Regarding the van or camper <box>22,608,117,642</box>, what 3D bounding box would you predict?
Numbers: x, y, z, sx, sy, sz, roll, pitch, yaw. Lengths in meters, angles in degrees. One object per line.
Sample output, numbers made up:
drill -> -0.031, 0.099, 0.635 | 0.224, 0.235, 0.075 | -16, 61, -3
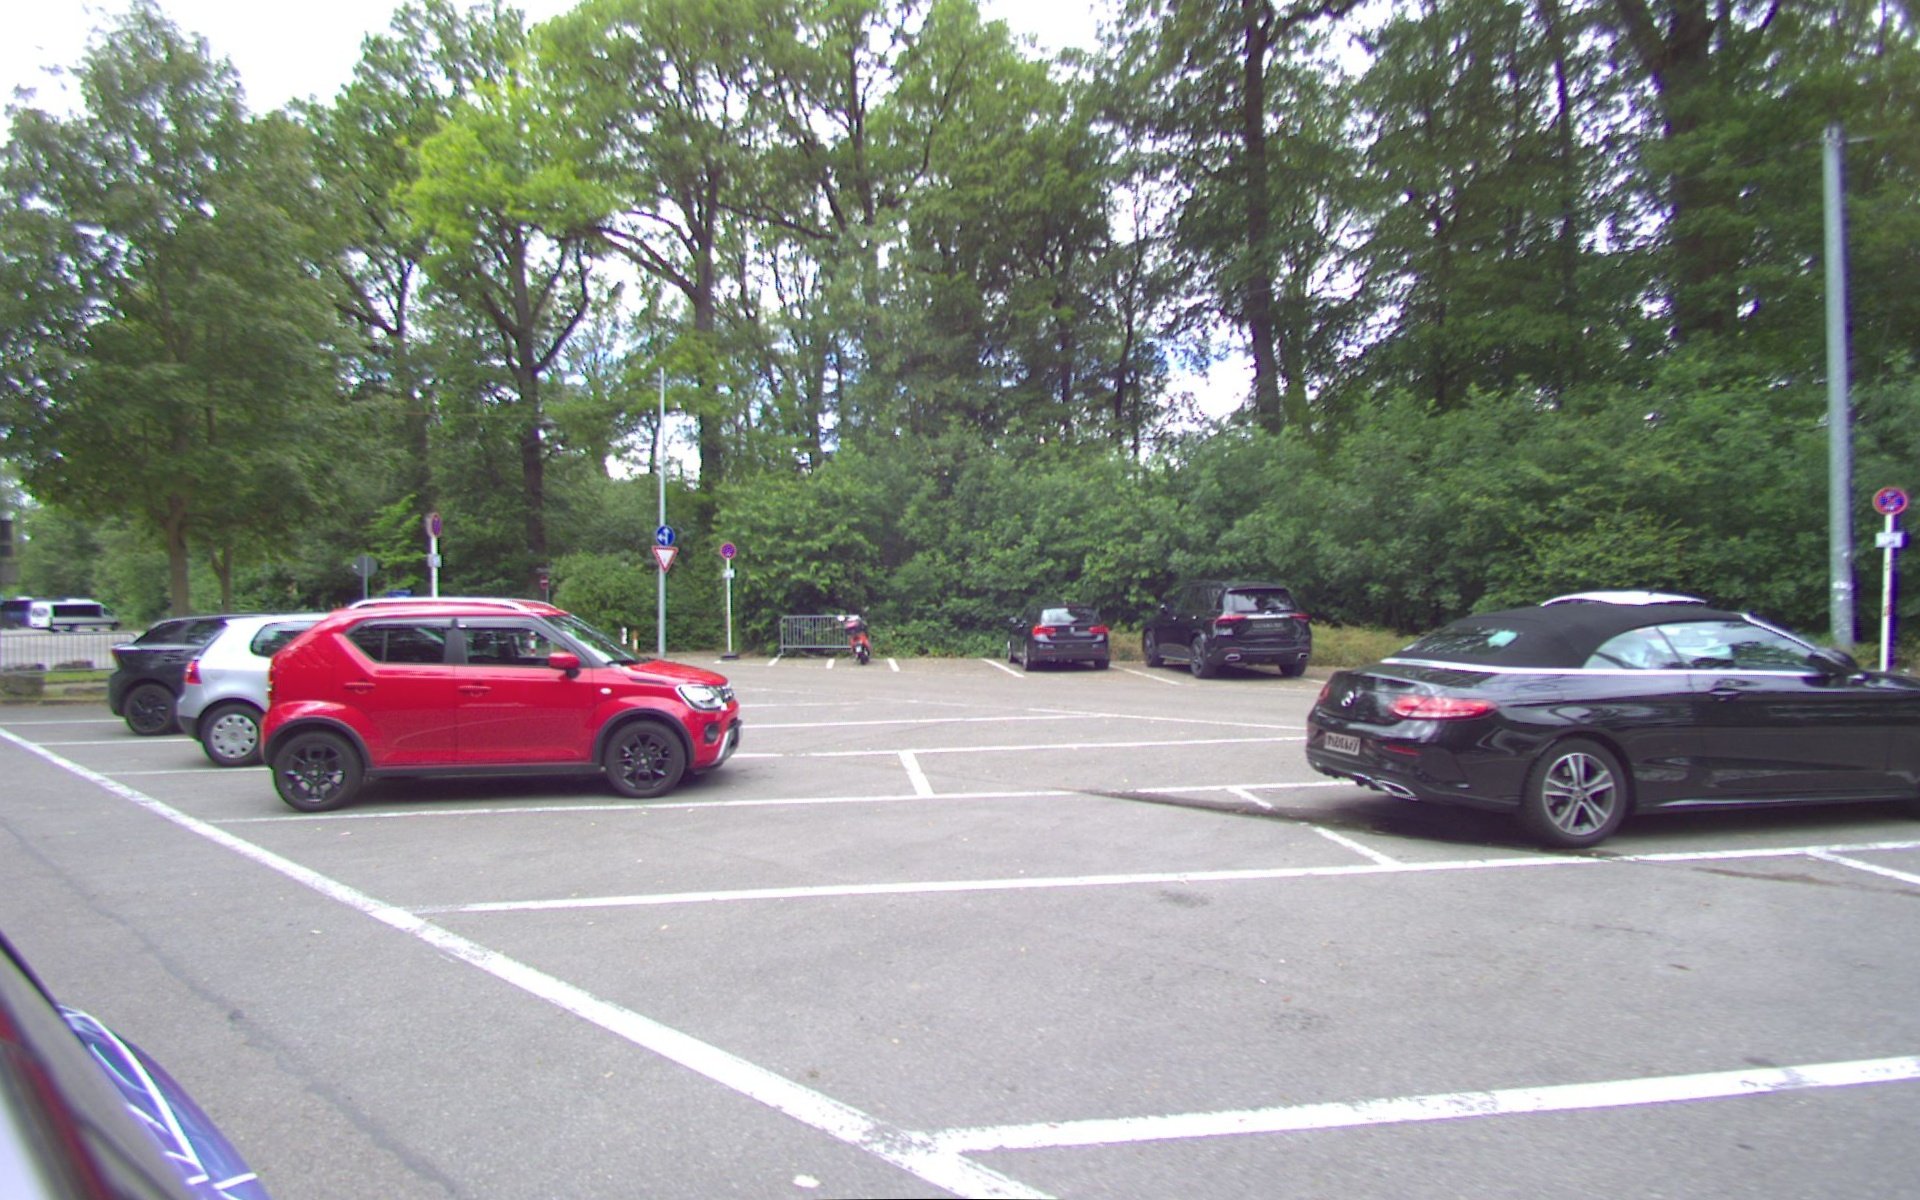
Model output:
van or camper -> -79.083, 2.159, 90.103 | 2.039, 2.871, 7.340 | -1, 0, 0

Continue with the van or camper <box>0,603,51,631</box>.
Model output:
van or camper -> -98.299, 1.757, 104.307 | 2.176, 2.871, 7.330 | -1, 0, 4

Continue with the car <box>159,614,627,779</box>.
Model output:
car -> -5.770, 0.929, 10.786 | 3.937, 1.495, 1.880 | -1, 0, -8

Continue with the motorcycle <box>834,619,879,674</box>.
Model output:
motorcycle -> -2.455, 1.092, 24.220 | 0.721, 1.217, 2.026 | -1, 0, 5

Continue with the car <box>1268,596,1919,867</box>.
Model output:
car -> 4.525, 0.735, 6.831 | 4.248, 1.453, 1.873 | -1, -1, -8

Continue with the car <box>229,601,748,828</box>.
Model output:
car -> -3.668, 0.846, 8.453 | 3.596, 1.597, 1.690 | -1, -1, -8

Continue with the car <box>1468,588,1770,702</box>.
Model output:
car -> 10.022, 0.638, 15.842 | 1.841, 1.522, 4.004 | -1, -1, -5

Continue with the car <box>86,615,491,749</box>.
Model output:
car -> -8.552, 1.005, 13.184 | 4.040, 1.534, 1.832 | -1, 0, -2

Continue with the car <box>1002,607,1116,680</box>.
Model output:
car -> 2.025, 0.865, 21.816 | 1.713, 1.386, 4.004 | -1, 0, -5

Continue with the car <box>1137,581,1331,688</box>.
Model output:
car -> 5.059, 0.616, 19.508 | 2.080, 1.780, 4.714 | -1, -1, -5
